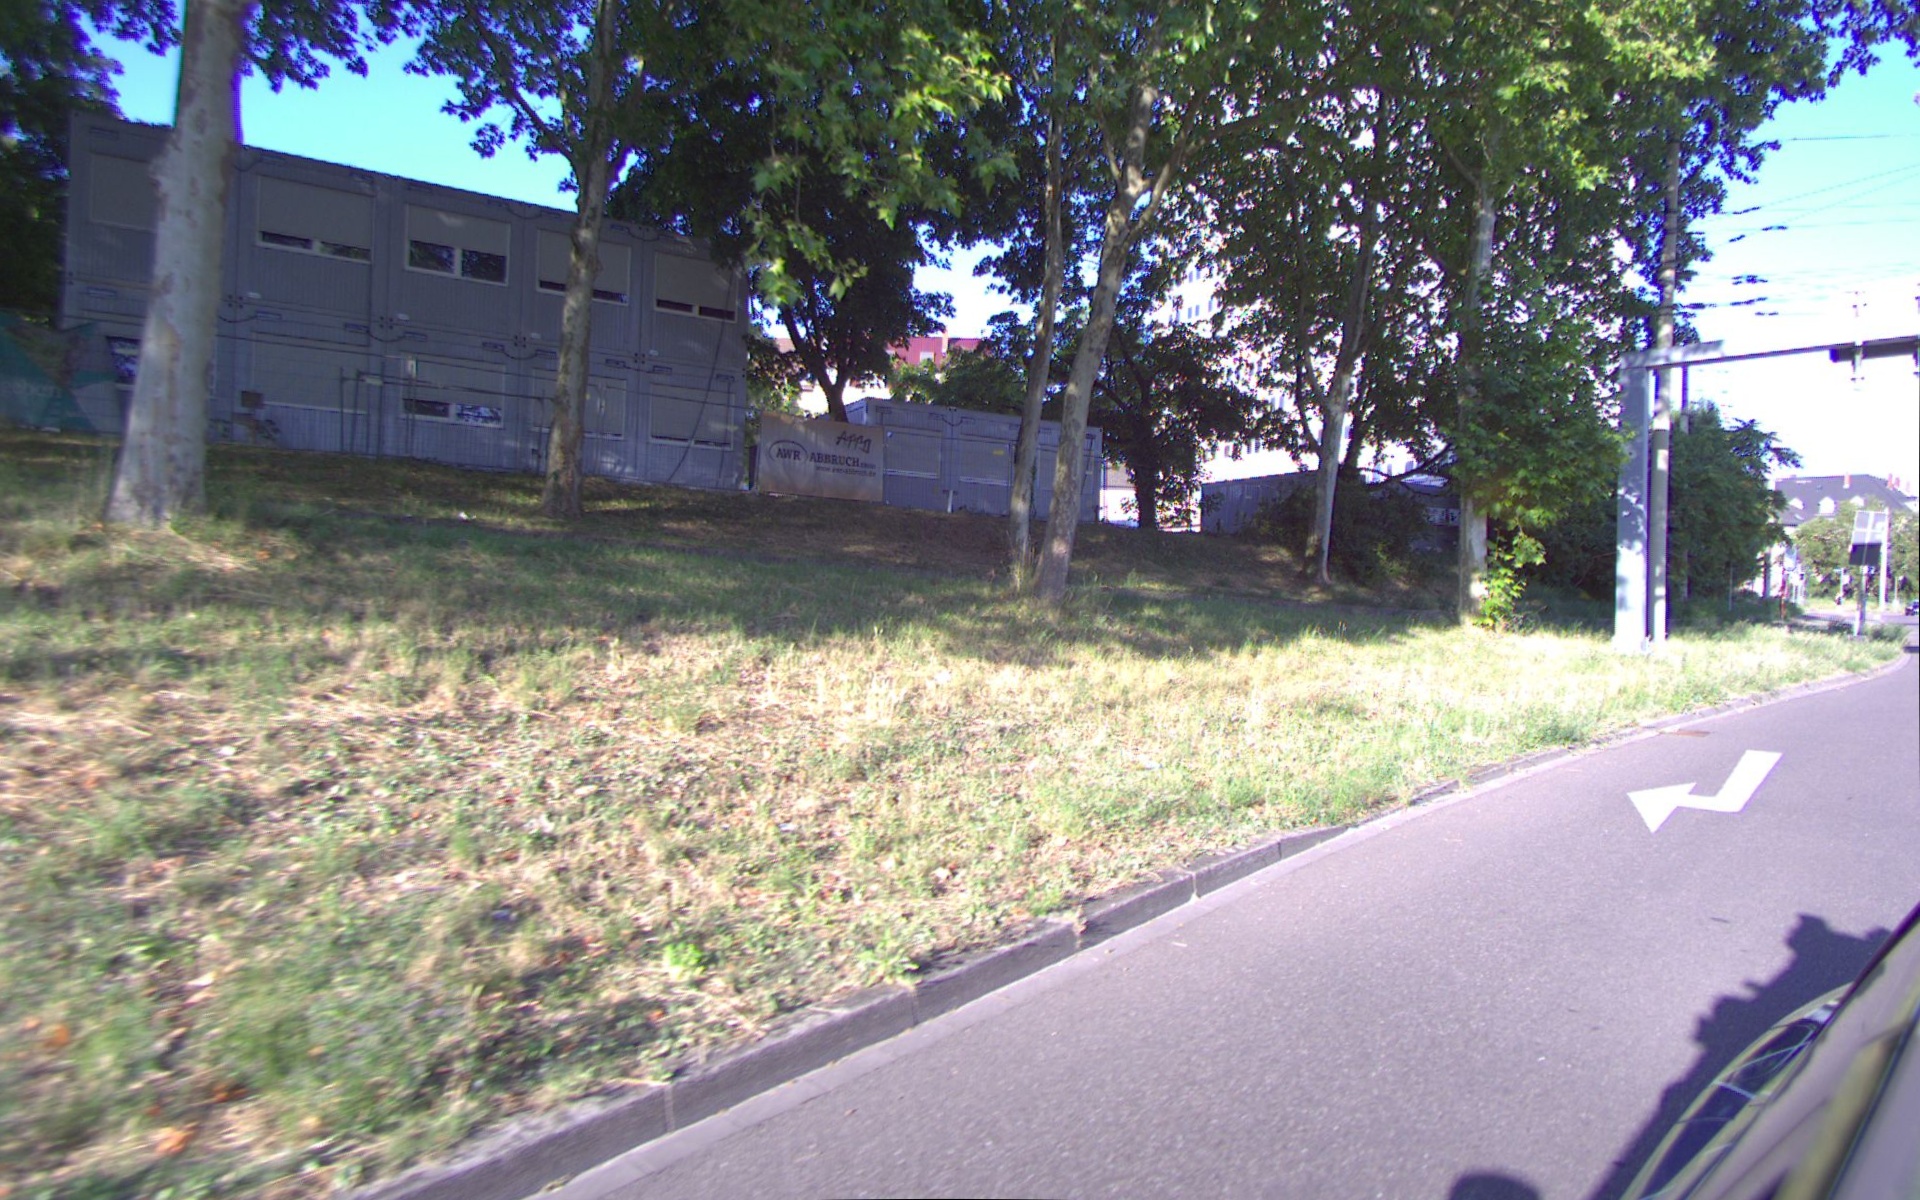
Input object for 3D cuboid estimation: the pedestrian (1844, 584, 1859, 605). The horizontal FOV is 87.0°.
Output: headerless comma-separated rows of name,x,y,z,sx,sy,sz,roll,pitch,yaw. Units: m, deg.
pedestrian,69.747,-0.454,79.175,0.535,1.615,0.595,1,1,-11
